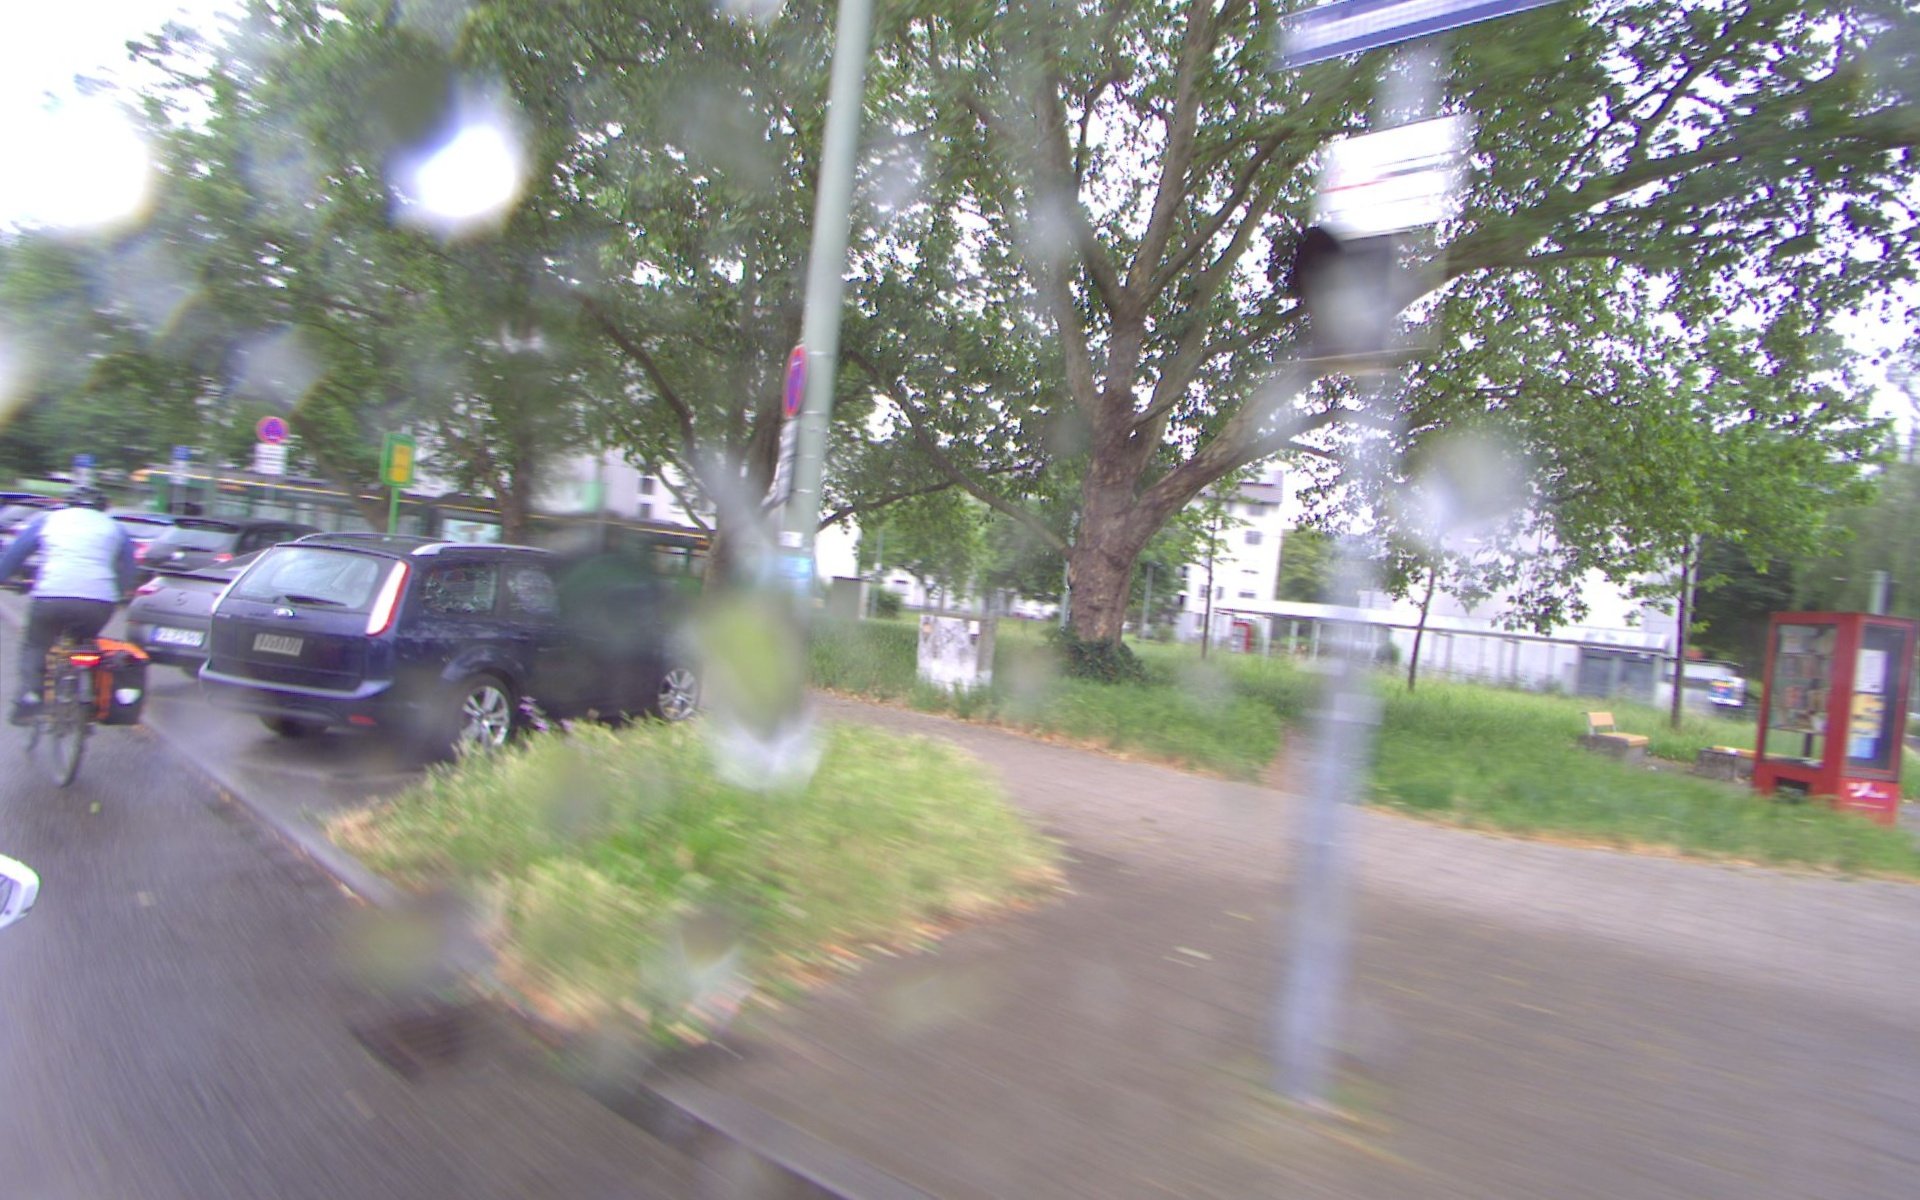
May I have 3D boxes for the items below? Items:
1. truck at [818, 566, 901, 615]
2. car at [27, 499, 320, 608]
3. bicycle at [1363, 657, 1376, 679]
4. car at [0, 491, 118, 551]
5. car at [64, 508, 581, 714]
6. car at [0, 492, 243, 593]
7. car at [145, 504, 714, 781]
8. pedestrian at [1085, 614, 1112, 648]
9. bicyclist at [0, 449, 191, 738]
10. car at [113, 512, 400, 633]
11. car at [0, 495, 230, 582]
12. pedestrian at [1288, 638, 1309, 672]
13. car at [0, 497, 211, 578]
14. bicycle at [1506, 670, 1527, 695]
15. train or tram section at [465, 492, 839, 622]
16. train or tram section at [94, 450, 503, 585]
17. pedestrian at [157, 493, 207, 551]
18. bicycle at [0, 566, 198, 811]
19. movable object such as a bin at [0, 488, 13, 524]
[{"bbox_3d":[-8.139,-0.809,80.676,3.174,3.516,7.079,5,-1,-37],"label":"truck"},{"bbox_3d":[-13.240,-0.778,17.288,1.790,1.521,3.995,4,3,1],"label":"car"},{"bbox_3d":[19.128,3.180,46.954,0.410,0.959,1.306,4,-1,27],"label":"bicycle"},{"bbox_3d":[-28.959,-2.513,31.156,1.962,1.502,4.000,8,1,10],"label":"car"},{"bbox_3d":[-6.117,0.135,10.474,1.770,1.494,4.551,7,0,12],"label":"car"},{"bbox_3d":[-15.737,-1.003,18.690,1.924,1.573,3.998,4,1,-1],"label":"car"},{"bbox_3d":[-3.810,0.296,8.223,1.770,1.494,4.179,7,0,11],"label":"car"},{"bbox_3d":[8.390,1.872,61.027,1.172,1.907,1.050,5,-1,-20],"label":"pedestrian"},{"bbox_3d":[-5.046,-0.044,5.763,0.834,1.504,0.750,8,2,39],"label":"bicyclist"},{"bbox_3d":[-10.685,-0.403,15.612,1.721,1.526,3.515,5,1,6],"label":"car"},{"bbox_3d":[-17.854,-1.236,20.940,1.830,1.499,4.121,6,1,9],"label":"car"},{"bbox_3d":[16.771,2.719,49.911,0.627,1.592,0.786,4,-1,41],"label":"pedestrian"},{"bbox_3d":[-19.784,-1.395,23.306,1.606,1.499,3.597,6,1,15],"label":"car"},{"bbox_3d":[23.259,3.461,42.059,0.373,0.968,1.230,4,-1,45],"label":"bicycle"},{"bbox_3d":[-12.604,-1.686,42.193,14.469,3.633,2.715,6,-1,-3],"label":"train or tram section"},{"bbox_3d":[-26.954,-3.300,41.527,14.469,3.633,2.715,6,-1,-3],"label":"train or tram section"},{"bbox_3d":[-25.685,-2.571,33.221,1.065,1.736,1.042,7,2,41],"label":"pedestrian"},{"bbox_3d":[-5.211,0.439,5.864,1.899,1.086,0.752,8,2,40],"label":"bicycle"},{"bbox_3d":[-48.641,-4.778,50.088,1.472,1.726,1.554,6,1,18],"label":"movable object such as a bin"}]
